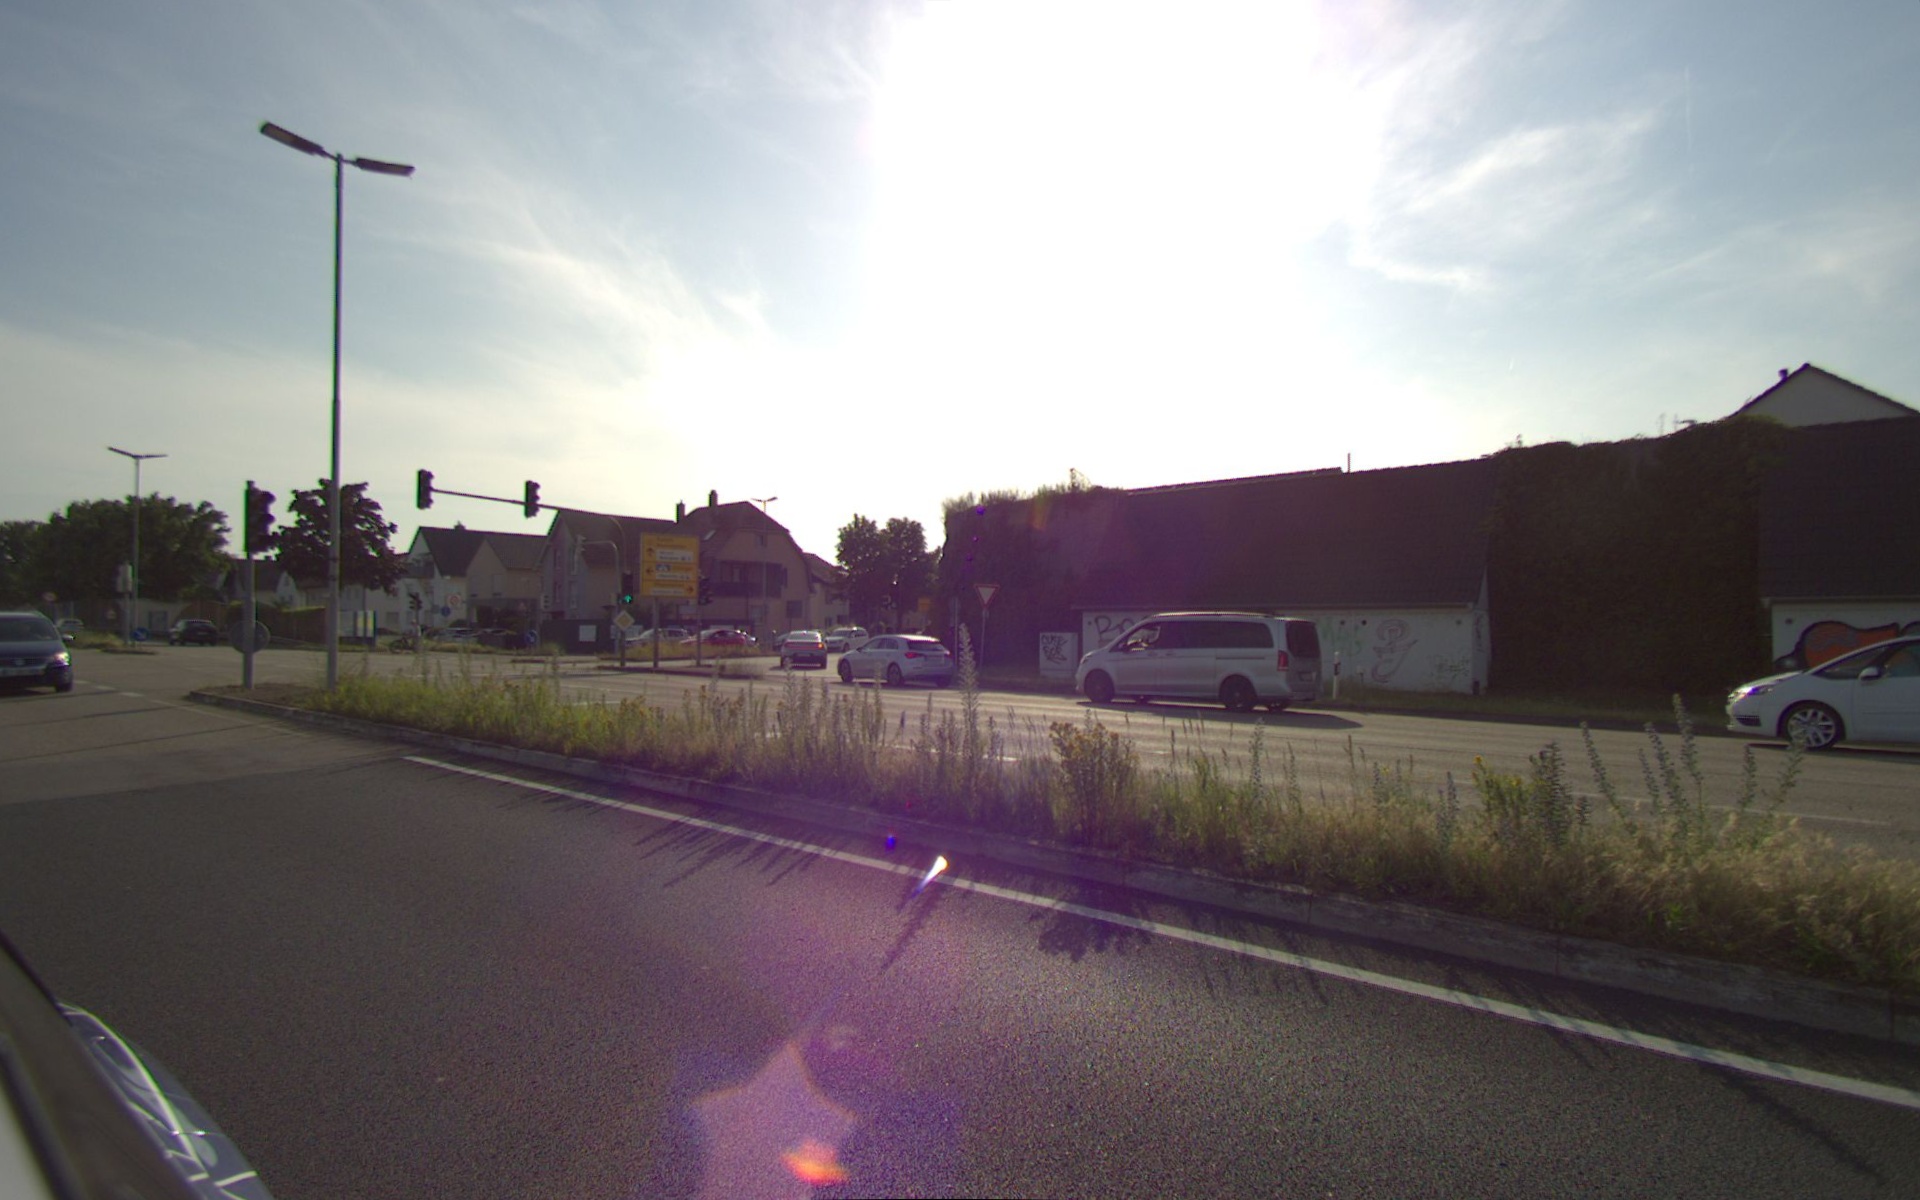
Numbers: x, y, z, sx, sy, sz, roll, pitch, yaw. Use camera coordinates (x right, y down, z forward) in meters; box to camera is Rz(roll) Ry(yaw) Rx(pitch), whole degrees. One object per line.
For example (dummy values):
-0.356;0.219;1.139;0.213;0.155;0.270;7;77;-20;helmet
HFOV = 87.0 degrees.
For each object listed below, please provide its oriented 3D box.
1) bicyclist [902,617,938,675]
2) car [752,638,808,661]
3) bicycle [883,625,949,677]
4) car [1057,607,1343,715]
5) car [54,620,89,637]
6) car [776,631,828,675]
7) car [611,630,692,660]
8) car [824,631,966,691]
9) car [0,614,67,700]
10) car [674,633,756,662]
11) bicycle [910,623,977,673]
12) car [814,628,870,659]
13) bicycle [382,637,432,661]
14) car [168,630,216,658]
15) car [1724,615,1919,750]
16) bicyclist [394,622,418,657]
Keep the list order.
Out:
-1.437;1.632;36.468;1.061;2.029;0.762;-1;0;41;bicyclist
-10.610;2.901;59.844;1.744;1.186;3.590;-1;0;20;car
-1.622;1.823;36.641;2.606;1.762;0.745;-1;0;41;bicycle
4.754;1.172;20.722;5.454;1.942;1.886;-1;-4;43;car
-80.806;2.557;92.039;4.732;1.473;1.735;-1;-3;41;car
-6.394;2.104;41.262;1.925;1.509;4.769;-1;0;-7;car
-17.134;2.517;56.263;1.757;1.575;3.944;-1;-3;42;car
-1.945;1.704;28.917;1.681;1.509;4.546;5;-4;-38;car
-19.932;1.109;20.843;4.680;1.633;1.754;-1;-1;42;car
-12.980;2.540;53.820;1.638;1.424;4.255;-1;-4;34;car
-0.628;1.730;37.263;2.606;1.762;0.745;-1;0;41;bicycle
-7.647;2.789;66.088;1.985;1.829;4.155;-1;0;20;car
-29.235;2.599;53.536;2.129;1.201;0.905;2;-2;-41;bicycle
-46.728;2.672;61.540;1.712;1.553;4.249;4;-4;-44;car
13.153;1.105;13.383;4.755;1.720;1.817;-1;-4;42;car
-29.287;2.081;53.509;0.844;1.800;0.848;5;-3;-41;bicyclist
